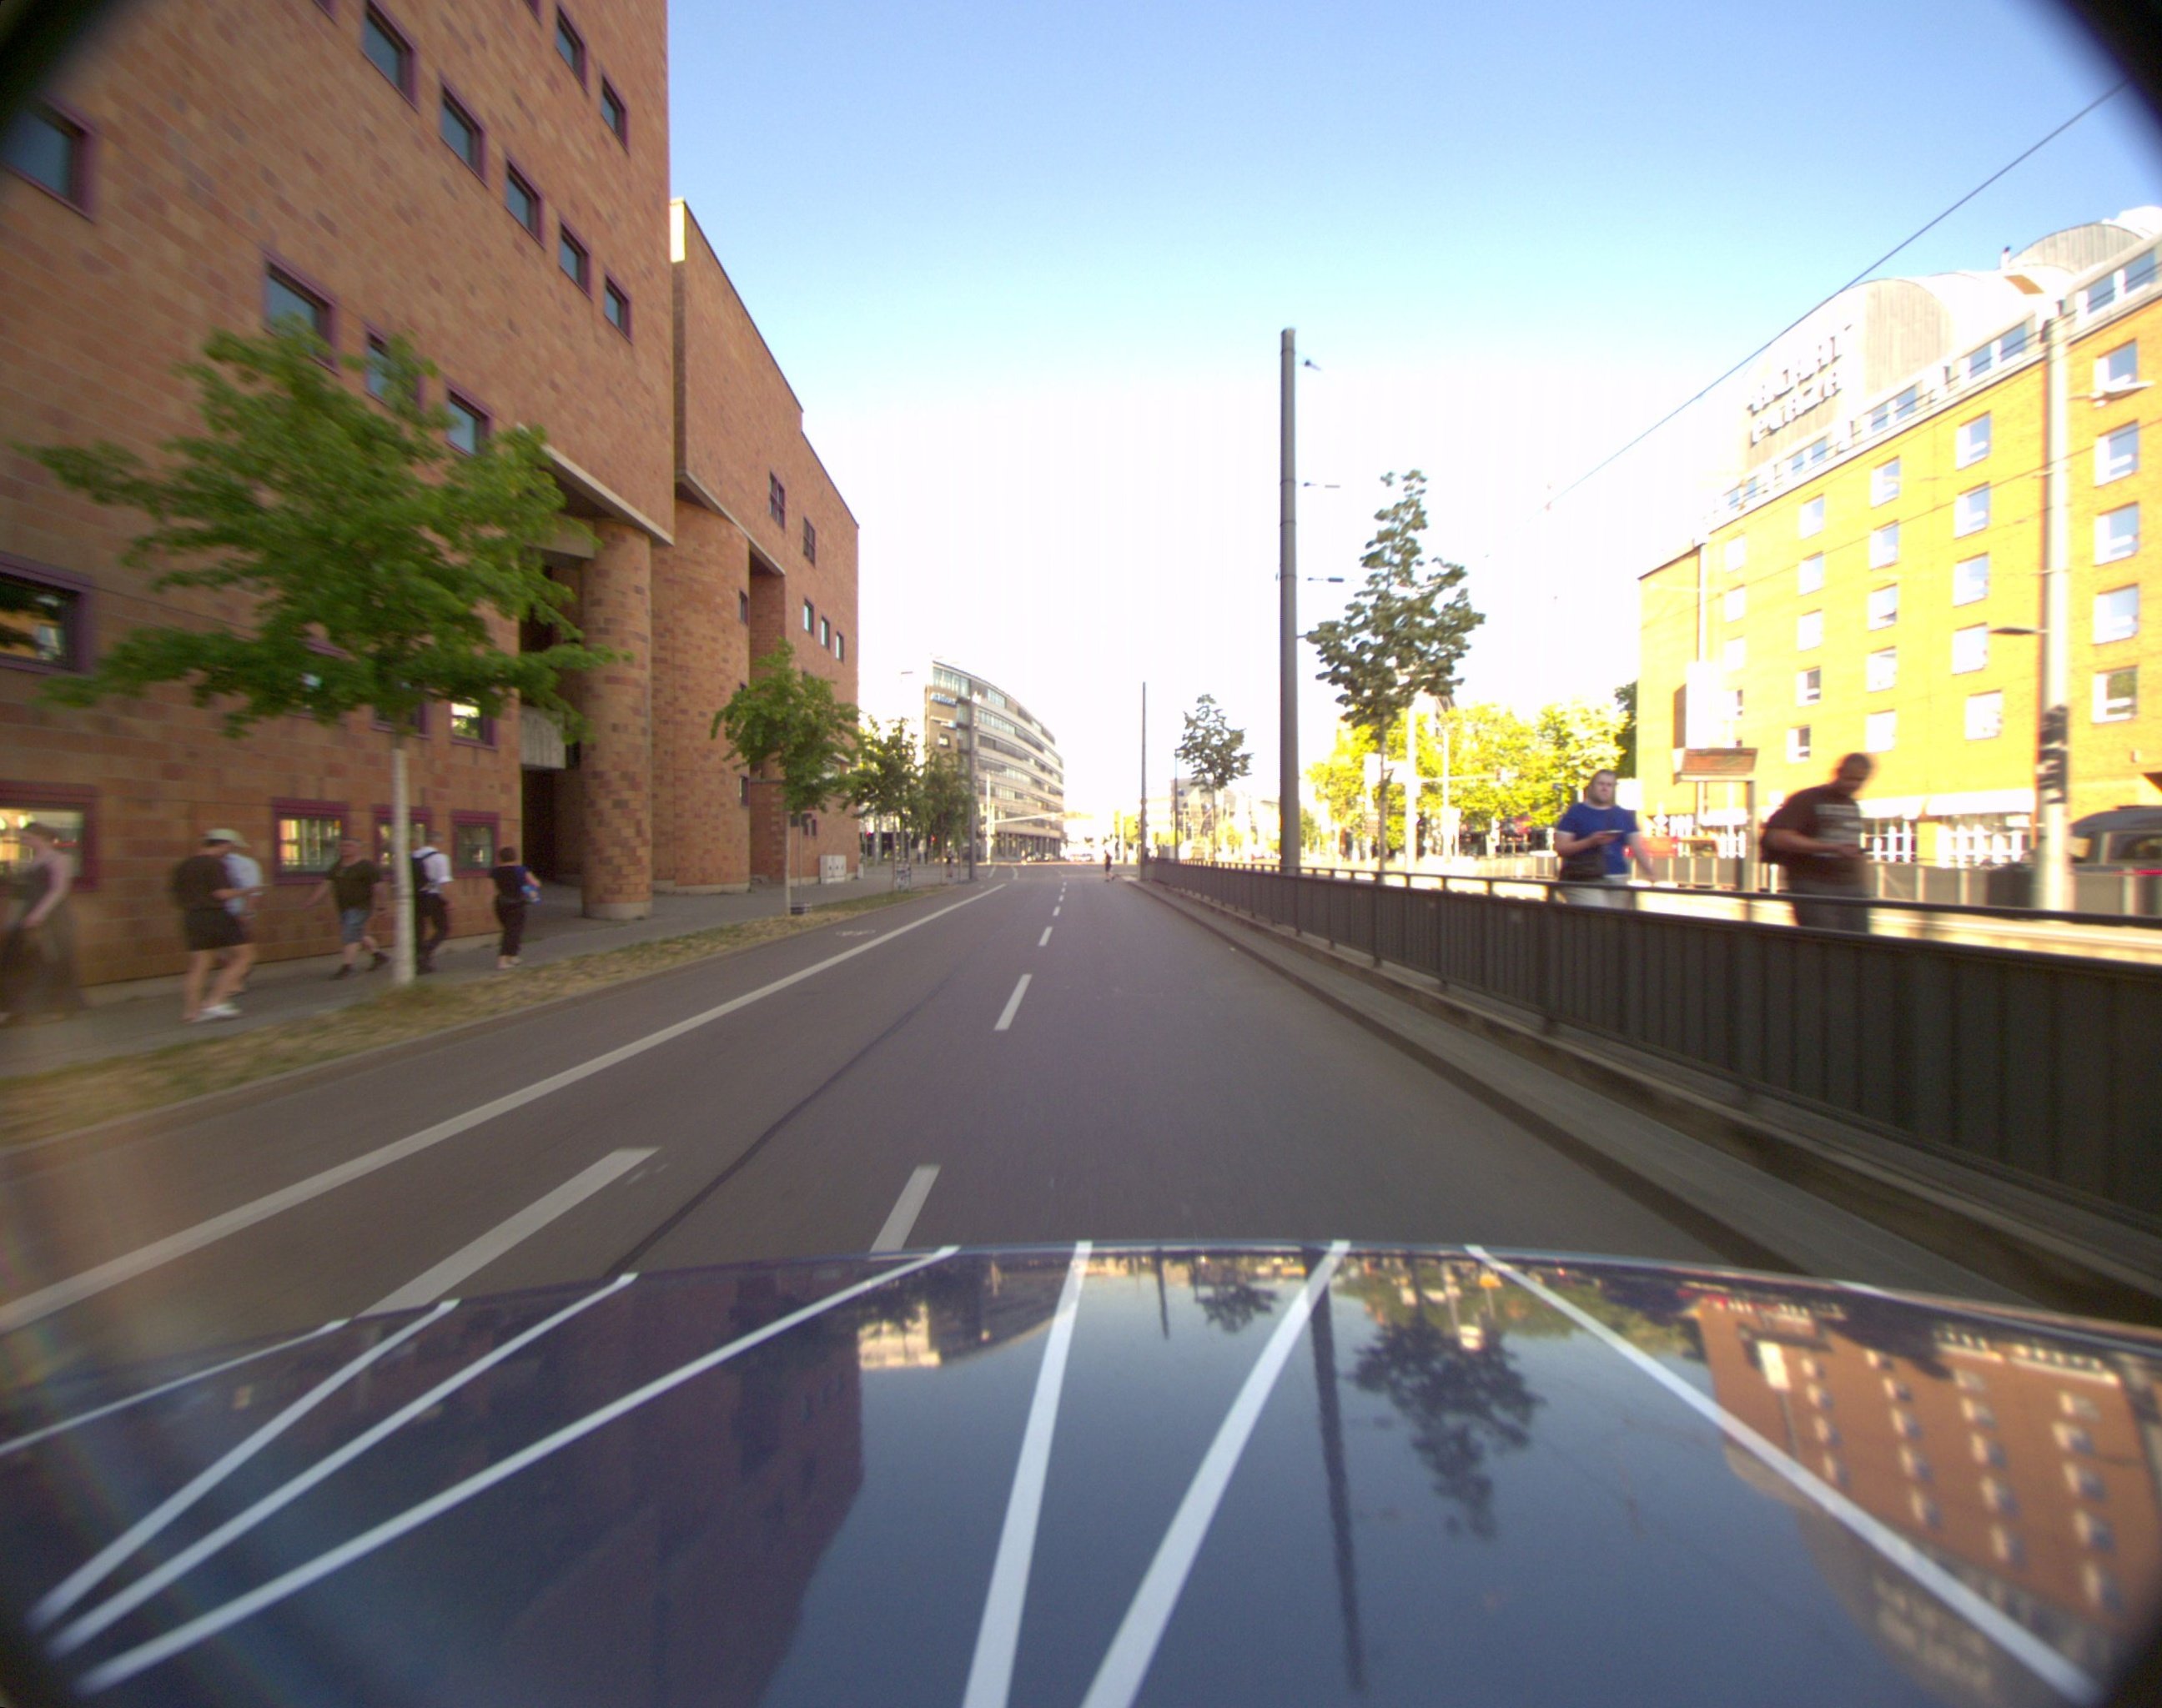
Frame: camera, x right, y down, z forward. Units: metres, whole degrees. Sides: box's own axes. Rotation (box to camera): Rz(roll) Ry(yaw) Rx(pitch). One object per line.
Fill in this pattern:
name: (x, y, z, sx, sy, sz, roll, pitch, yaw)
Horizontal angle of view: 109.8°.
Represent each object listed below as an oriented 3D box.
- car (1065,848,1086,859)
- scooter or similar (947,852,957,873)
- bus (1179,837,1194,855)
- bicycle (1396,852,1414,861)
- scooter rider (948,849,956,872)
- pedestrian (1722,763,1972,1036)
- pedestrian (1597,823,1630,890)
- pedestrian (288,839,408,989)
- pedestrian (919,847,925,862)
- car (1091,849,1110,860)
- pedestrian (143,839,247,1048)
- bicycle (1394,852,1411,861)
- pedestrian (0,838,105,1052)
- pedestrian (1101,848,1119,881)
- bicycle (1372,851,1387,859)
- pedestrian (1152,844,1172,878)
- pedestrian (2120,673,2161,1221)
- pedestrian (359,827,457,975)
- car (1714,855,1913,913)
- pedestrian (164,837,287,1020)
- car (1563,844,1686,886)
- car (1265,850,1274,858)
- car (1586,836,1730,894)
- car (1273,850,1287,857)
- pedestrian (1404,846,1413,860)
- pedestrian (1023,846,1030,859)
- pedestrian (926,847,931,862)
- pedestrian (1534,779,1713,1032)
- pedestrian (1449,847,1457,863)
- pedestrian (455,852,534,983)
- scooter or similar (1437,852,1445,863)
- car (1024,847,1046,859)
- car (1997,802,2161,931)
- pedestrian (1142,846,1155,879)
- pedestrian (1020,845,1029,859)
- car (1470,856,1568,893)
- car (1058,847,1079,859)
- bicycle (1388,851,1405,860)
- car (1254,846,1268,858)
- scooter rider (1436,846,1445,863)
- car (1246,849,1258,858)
car: (-0.790, -0.080, 112.381, 1.901, 1.612, 4.177, 0, 0, 16)
scooter or similar: (-8.144, 0.556, 48.057, 0.529, 1.310, 1.131, 0, 1, -7)
bus: (20.744, -1.530, 149.546, 2.723, 3.388, 9.674, 0, 0, 7)
bicycle: (39.582, 0.281, 92.883, 1.841, 1.123, 0.776, 0, 1, 6)
scooter rider: (-8.158, 0.382, 48.092, 0.507, 1.452, 0.721, 0, 1, -7)
pedestrian: (4.520, 0.248, 4.559, 0.683, 1.475, 0.829, 0, 1, 7)
pedestrian: (13.569, 0.048, 19.377, 0.677, 1.674, 0.577, 1, 1, 34)
pedestrian: (-8.818, 0.696, 9.170, 0.734, 1.746, 0.695, 0, 1, -2)
pedestrian: (-18.791, 0.058, 89.745, 0.589, 1.813, 0.544, 0, 1, -12)
car: (2.943, 0.147, 115.899, 1.901, 1.612, 4.177, 0, 0, 16)
pedestrian: (-7.802, 0.748, 6.698, 0.420, 1.746, 0.539, 1, 1, 36)
bicycle: (39.640, 0.297, 93.692, 1.841, 1.123, 0.776, 0, 1, 6)
pedestrian: (-9.062, 0.743, 6.486, 0.537, 1.746, 0.696, 0, 1, 11)
pedestrian: (1.496, 0.518, 39.351, 0.750, 1.692, 0.623, 0, 1, -18)
bicycle: (38.114, 0.158, 97.131, 1.696, 1.030, 0.549, 0, 1, 11)
pedestrian: (3.638, 0.296, 34.168, 0.714, 1.530, 0.853, 0, 1, 18)
pedestrian: (3.539, 0.286, 1.745, 0.888, 1.662, 1.097, 0, 1, 22)
pedestrian: (-8.062, 0.541, 9.123, 0.572, 1.703, 0.641, 0, 1, 10)
car: (20.912, 0.814, 21.969, 1.891, 1.523, 4.000, 0, 0, -1)
pedestrian: (-8.629, 0.706, 7.678, 0.536, 1.746, 0.697, 0, 1, 28)
car: (21.045, 0.401, 29.642, 1.891, 1.523, 4.000, 0, 0, -1)
car: (44.832, -0.018, 180.578, 1.608, 2.002, 3.892, 0, 1, 21)
car: (24.398, 0.396, 32.457, 2.084, 2.276, 5.263, 0, 1, -1)
car: (46.937, -0.016, 178.857, 1.860, 1.622, 4.272, 0, 0, 34)
pedestrian: (41.191, -0.115, 95.561, 0.891, 1.754, 0.732, 1, 0, 14)
pedestrian: (-7.004, -0.203, 97.182, 0.845, 1.678, 0.648, 0, 1, 4)
pedestrian: (-18.035, 0.059, 89.931, 0.547, 1.813, 0.374, 0, 1, -12)
pedestrian: (3.836, 0.336, 5.451, 0.888, 1.662, 0.673, 0, 1, 21)
pedestrian: (41.410, 0.112, 84.638, 0.671, 1.786, 0.571, 1, 2, 44)
pedestrian: (-7.480, 0.780, 9.713, 0.518, 1.596, 0.704, 0, 1, -12)
scooter or similar: (40.106, 0.369, 84.746, 0.454, 1.172, 1.162, 1, 2, 44)
car: (-6.615, -0.117, 109.409, 1.901, 1.612, 4.177, 0, 0, 16)
car: (20.738, 0.230, 13.890, 2.050, 2.344, 4.920, 0, 1, 0)
pedestrian: (3.098, 0.380, 34.717, 0.490, 1.530, 0.552, 0, 1, 16)
pedestrian: (-7.186, -0.285, 96.434, 0.966, 1.832, 0.699, 0, 1, 4)
car: (18.200, 0.827, 31.766, 1.762, 1.439, 4.000, 0, 0, -1)
car: (-1.750, -0.142, 107.952, 1.901, 1.612, 3.871, 0, 0, 16)
bicycle: (39.764, 0.198, 95.729, 1.841, 1.123, 0.776, 0, 1, 6)
car: (39.228, -0.460, 165.710, 1.995, 2.465, 5.985, 0, 0, 23)
scooter rider: (40.085, 0.036, 84.705, 0.587, 1.822, 0.765, 1, 2, 45)
car: (27.019, -0.034, 120.305, 1.690, 1.419, 4.003, 0, 0, 9)
